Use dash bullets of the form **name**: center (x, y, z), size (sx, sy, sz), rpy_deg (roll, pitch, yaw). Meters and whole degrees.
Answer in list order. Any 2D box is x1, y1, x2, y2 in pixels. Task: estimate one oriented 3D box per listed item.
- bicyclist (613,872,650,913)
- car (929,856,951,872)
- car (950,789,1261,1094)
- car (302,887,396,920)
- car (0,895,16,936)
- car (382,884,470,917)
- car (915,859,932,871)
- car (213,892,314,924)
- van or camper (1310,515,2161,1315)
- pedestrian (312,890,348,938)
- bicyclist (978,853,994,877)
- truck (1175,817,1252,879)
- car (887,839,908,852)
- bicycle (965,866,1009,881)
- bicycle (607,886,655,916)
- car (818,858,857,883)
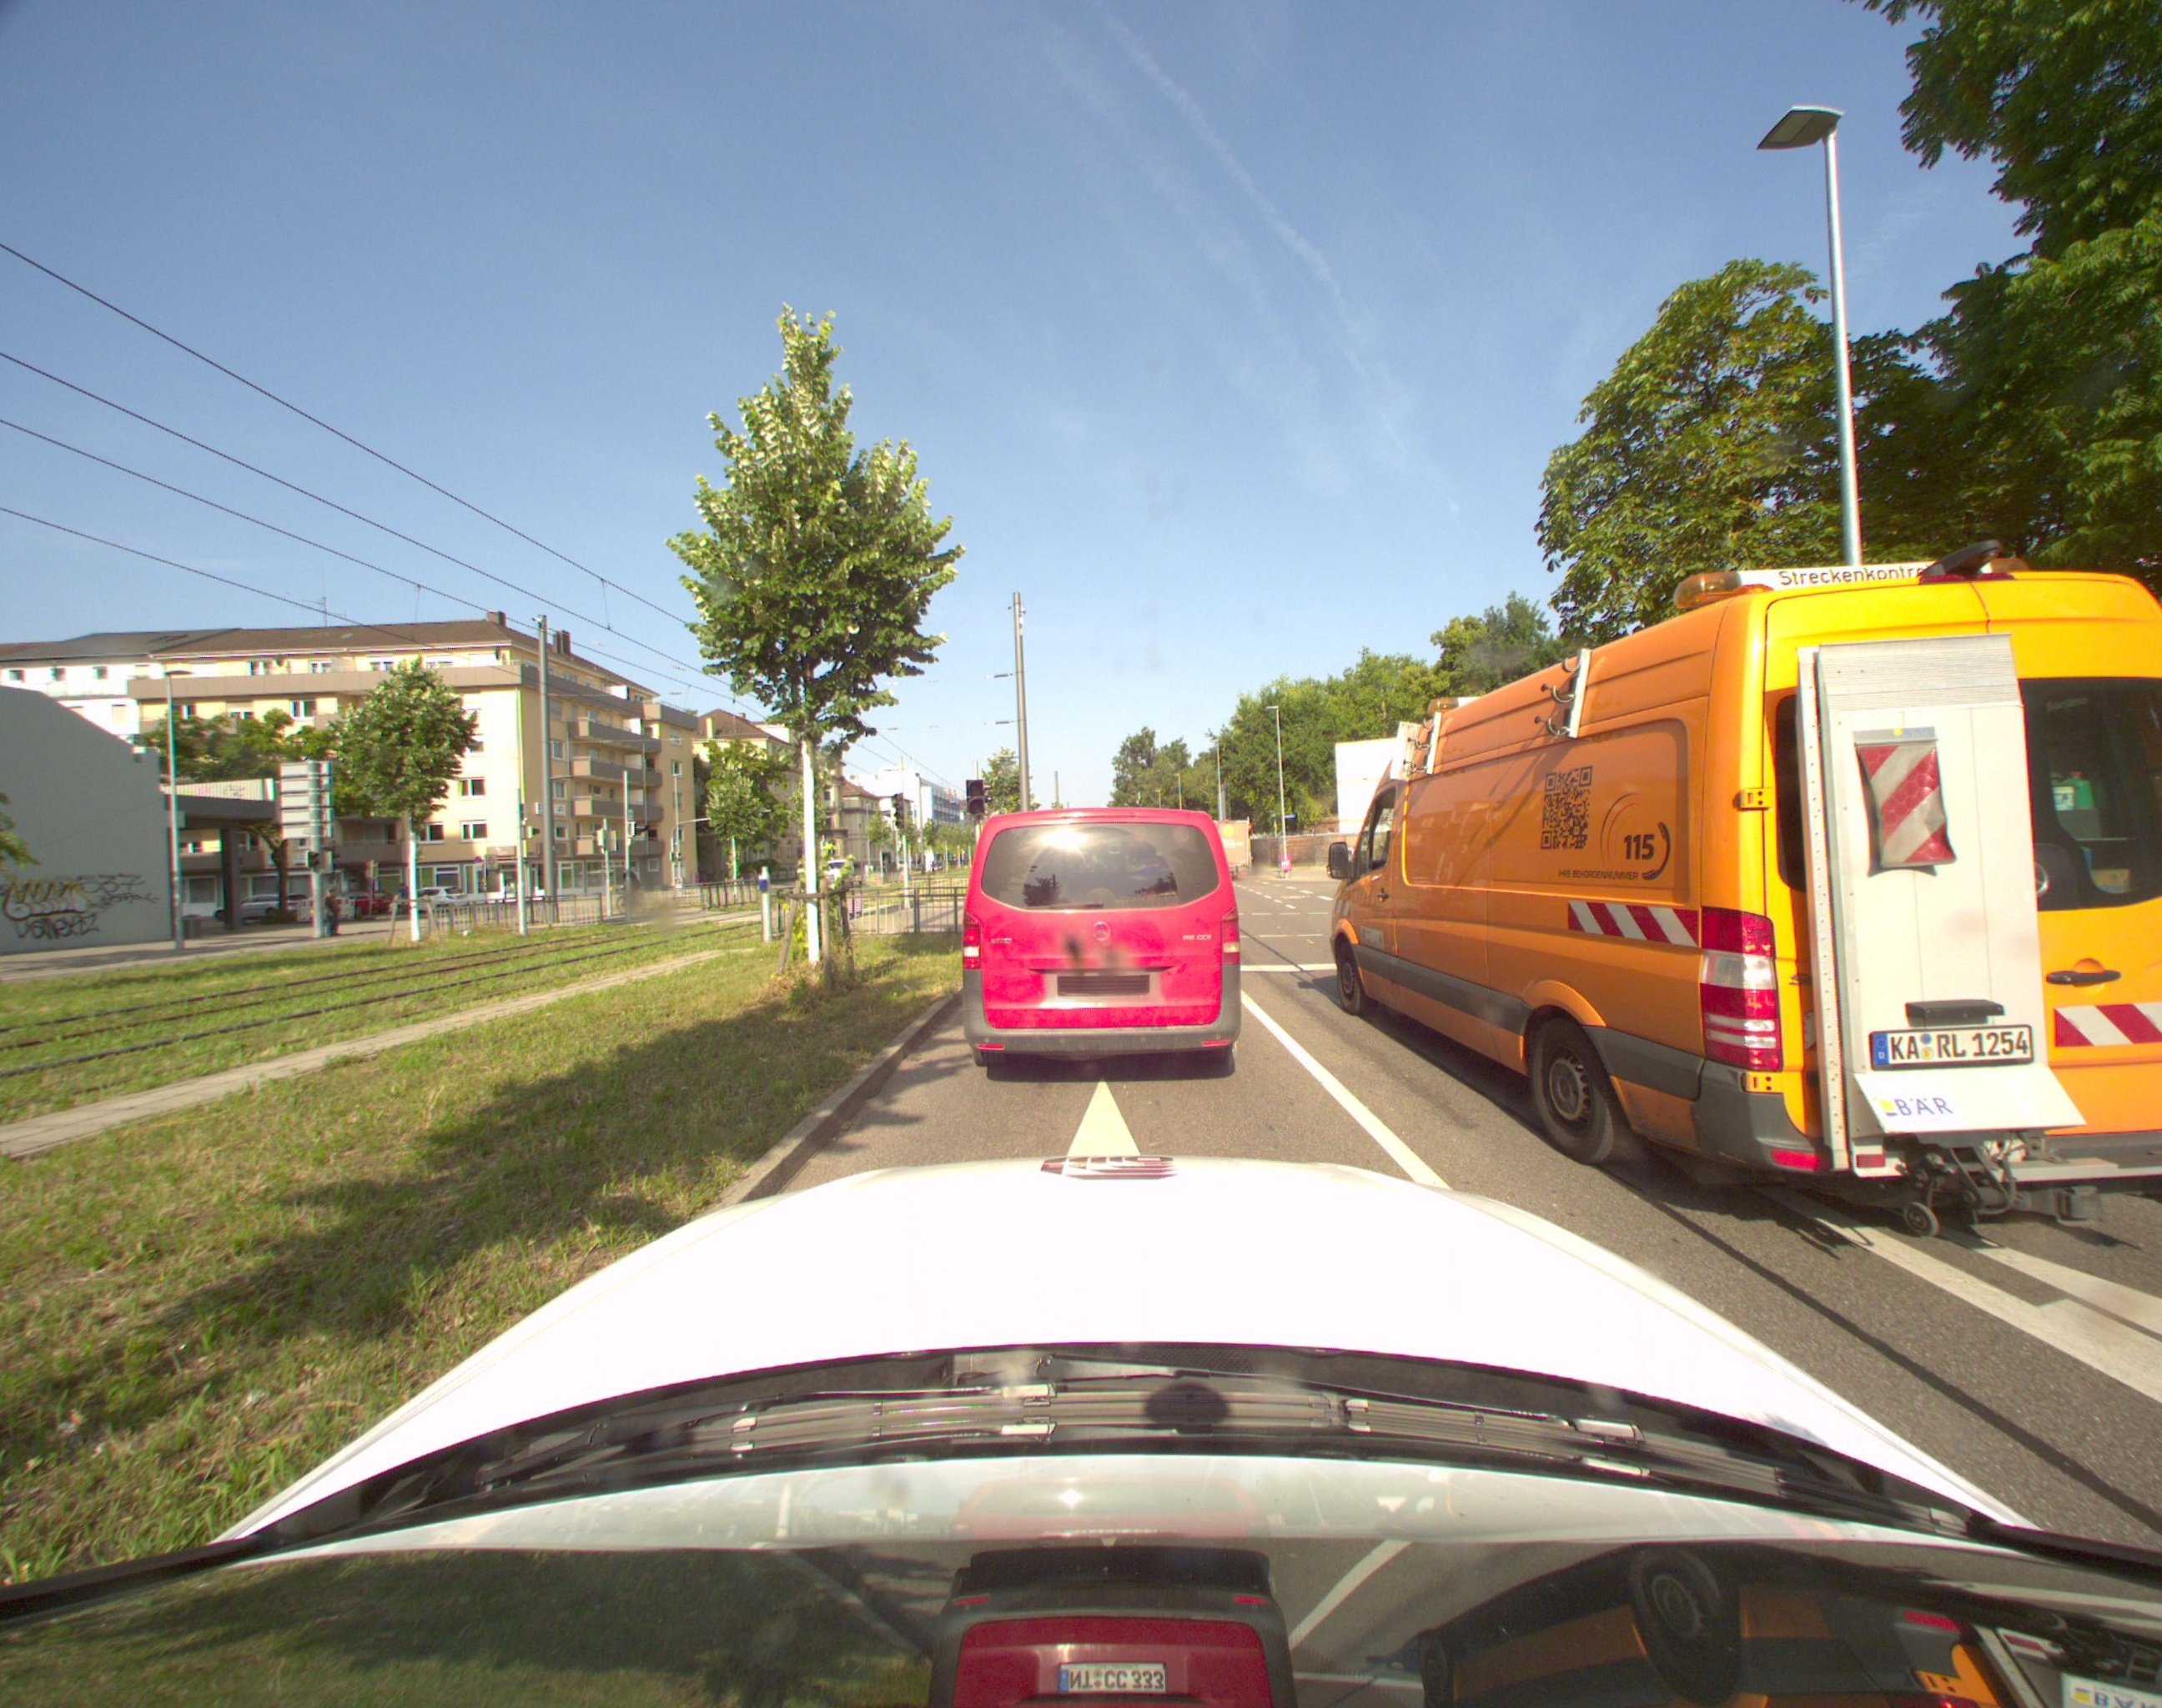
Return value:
- **bicyclist**: center (-16.421, 1.405, 29.748), size (0.962, 1.395, 0.549), rpy_deg (-5, 1, 21)
- **car**: center (-19.523, 1.349, 112.847), size (1.986, 2.013, 4.001), rpy_deg (-5, -1, 2)
- **car**: center (0.200, 0.538, 7.021), size (1.894, 1.859, 4.001), rpy_deg (-1, 0, 1)
- **car**: center (-43.428, 2.930, 48.385), size (3.778, 1.688, 1.773), rpy_deg (-3, 0, -3)
- **car**: center (-54.432, 3.068, 38.406), size (1.986, 1.968, 4.833), rpy_deg (-3, -1, 1)
- **car**: center (-38.888, 2.732, 48.410), size (3.614, 1.583, 1.708), rpy_deg (-3, 3, -3)
- **car**: center (-25.132, 1.755, 129.949), size (1.736, 1.673, 4.002), rpy_deg (-3, 0, 2)
- **car**: center (-48.383, 3.160, 48.243), size (3.931, 1.604, 1.814), rpy_deg (-3, 0, -3)
- **van or camper**: center (3.336, 0.208, 5.560), size (1.978, 2.472, 6.063), rpy_deg (-1, -1, 2)
- **pedestrian**: center (-27.433, 2.191, 29.761), size (0.655, 1.690, 0.646), rpy_deg (-3, 0, 4)
- **bicyclist**: center (-6.835, 0.782, 58.565), size (0.885, 1.628, 0.894), rpy_deg (-3, 0, 8)
- **truck**: center (7.024, -0.267, 44.181), size (2.497, 3.061, 7.810), rpy_deg (0, -1, -3)
- **car**: center (-29.950, -1.354, 132.926), size (2.243, 2.014, 5.260), rpy_deg (0, -2, -1)
- **bicycle**: center (-6.776, 1.406, 58.552), size (2.971, 0.965, 0.902), rpy_deg (-2, 0, 7)
- **bicycle**: center (-16.436, 1.713, 29.766), size (1.593, 0.935, 0.560), rpy_deg (-5, 1, 21)
- **car**: center (-23.538, 1.537, 79.024), size (2.039, 2.238, 5.334), rpy_deg (-2, 0, 0)
